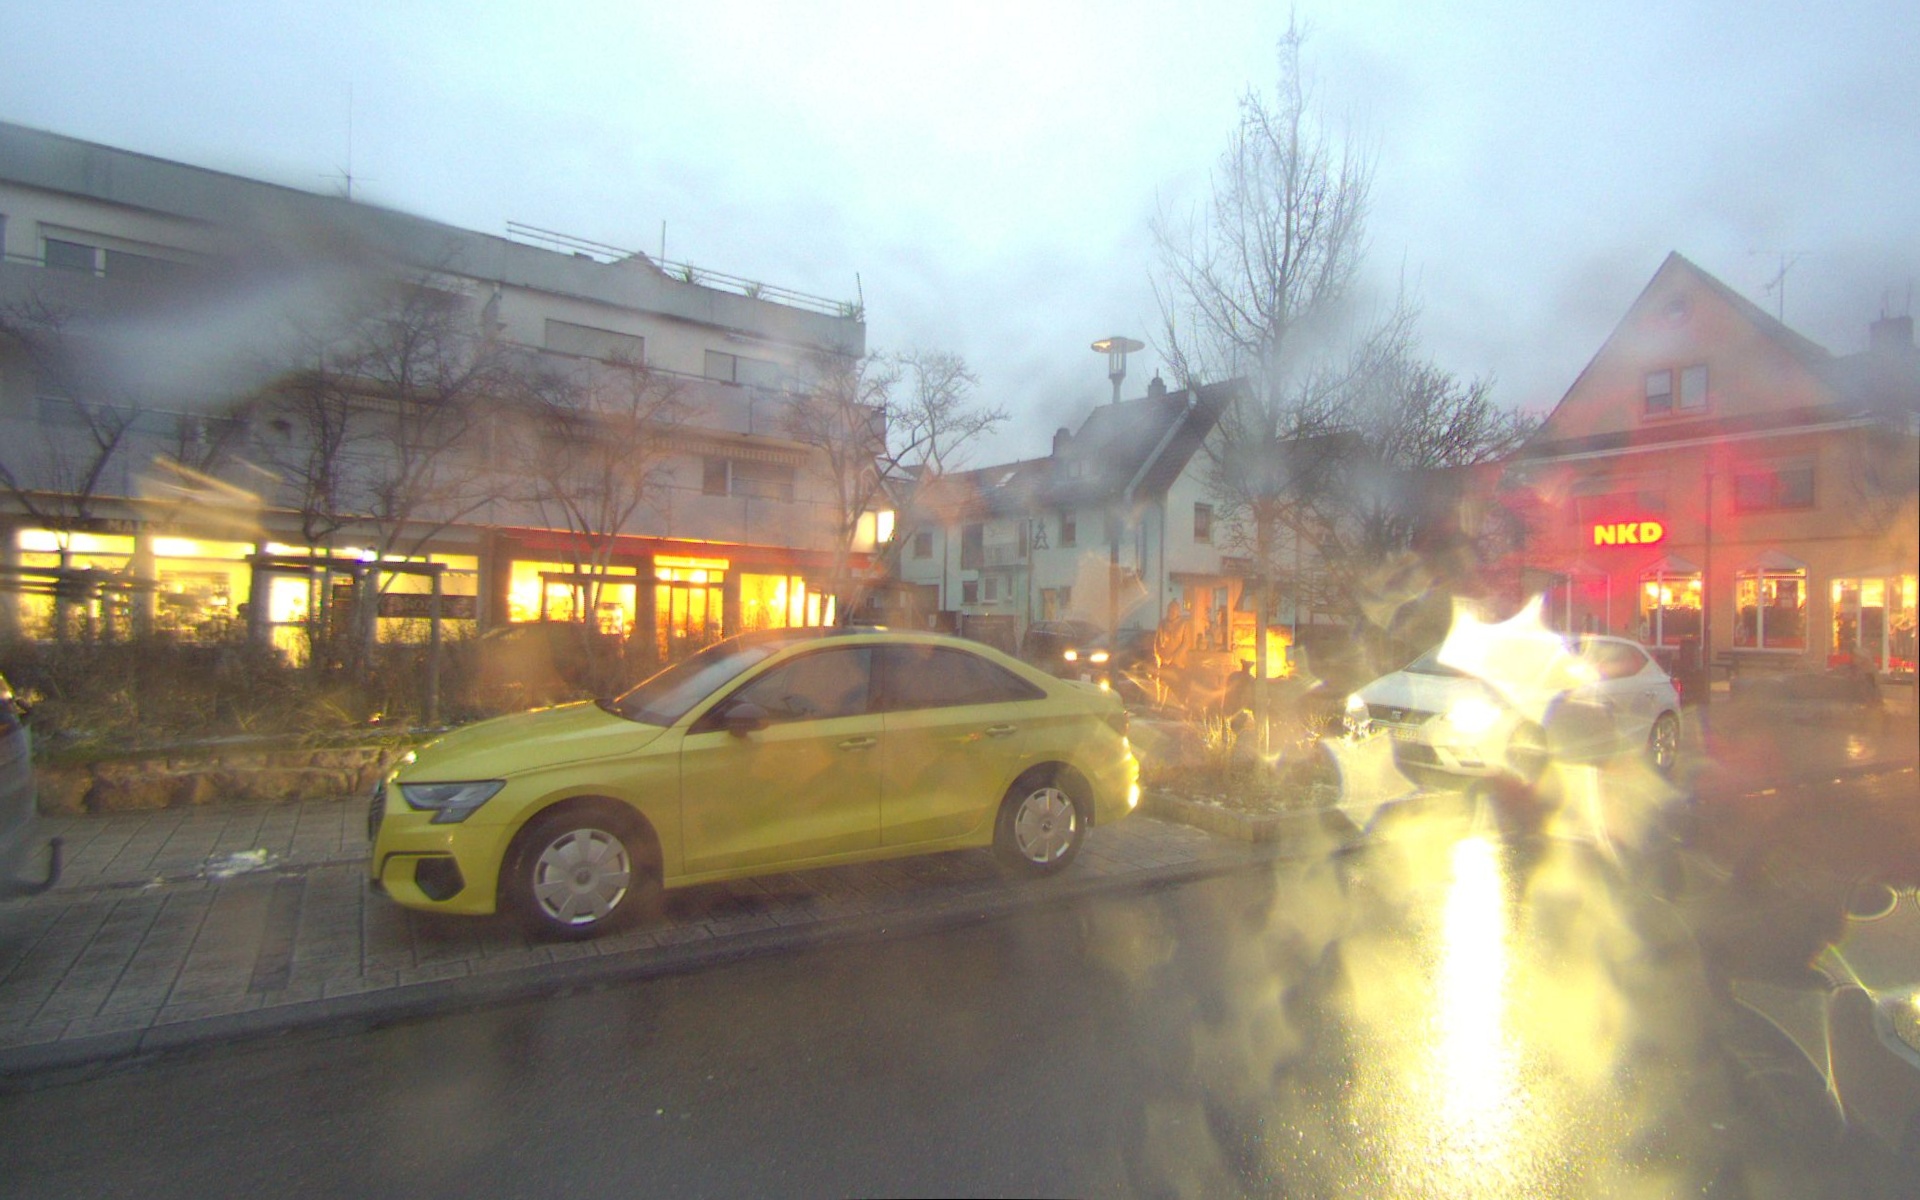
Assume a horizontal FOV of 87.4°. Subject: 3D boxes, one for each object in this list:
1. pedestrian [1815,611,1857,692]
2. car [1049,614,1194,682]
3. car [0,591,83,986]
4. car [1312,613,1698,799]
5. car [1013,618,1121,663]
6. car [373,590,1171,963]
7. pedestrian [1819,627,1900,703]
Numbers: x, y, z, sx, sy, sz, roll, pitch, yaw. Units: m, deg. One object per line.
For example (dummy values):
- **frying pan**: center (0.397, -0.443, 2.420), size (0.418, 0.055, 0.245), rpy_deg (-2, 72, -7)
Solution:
- **pedestrian**: center (19.615, 1.138, 22.497), size (0.678, 1.765, 0.583), rpy_deg (1, -1, -38)
- **car**: center (4.560, 1.321, 28.083), size (3.967, 1.743, 1.834), rpy_deg (2, -1, -40)
- **car**: center (-5.641, 0.700, 3.434), size (3.733, 1.536, 1.682), rpy_deg (2, 0, -33)
- **car**: center (5.645, 0.962, 10.312), size (3.953, 1.536, 1.661), rpy_deg (2, 1, -30)
- **car**: center (3.922, 1.476, 37.181), size (1.604, 1.539, 3.854), rpy_deg (2, -1, -43)
- **car**: center (-0.977, 0.781, 6.007), size (4.290, 1.536, 1.741), rpy_deg (2, 0, -29)
- **pedestrian**: center (18.590, 1.340, 20.778), size (0.766, 1.437, 0.887), rpy_deg (2, 5, -25)
